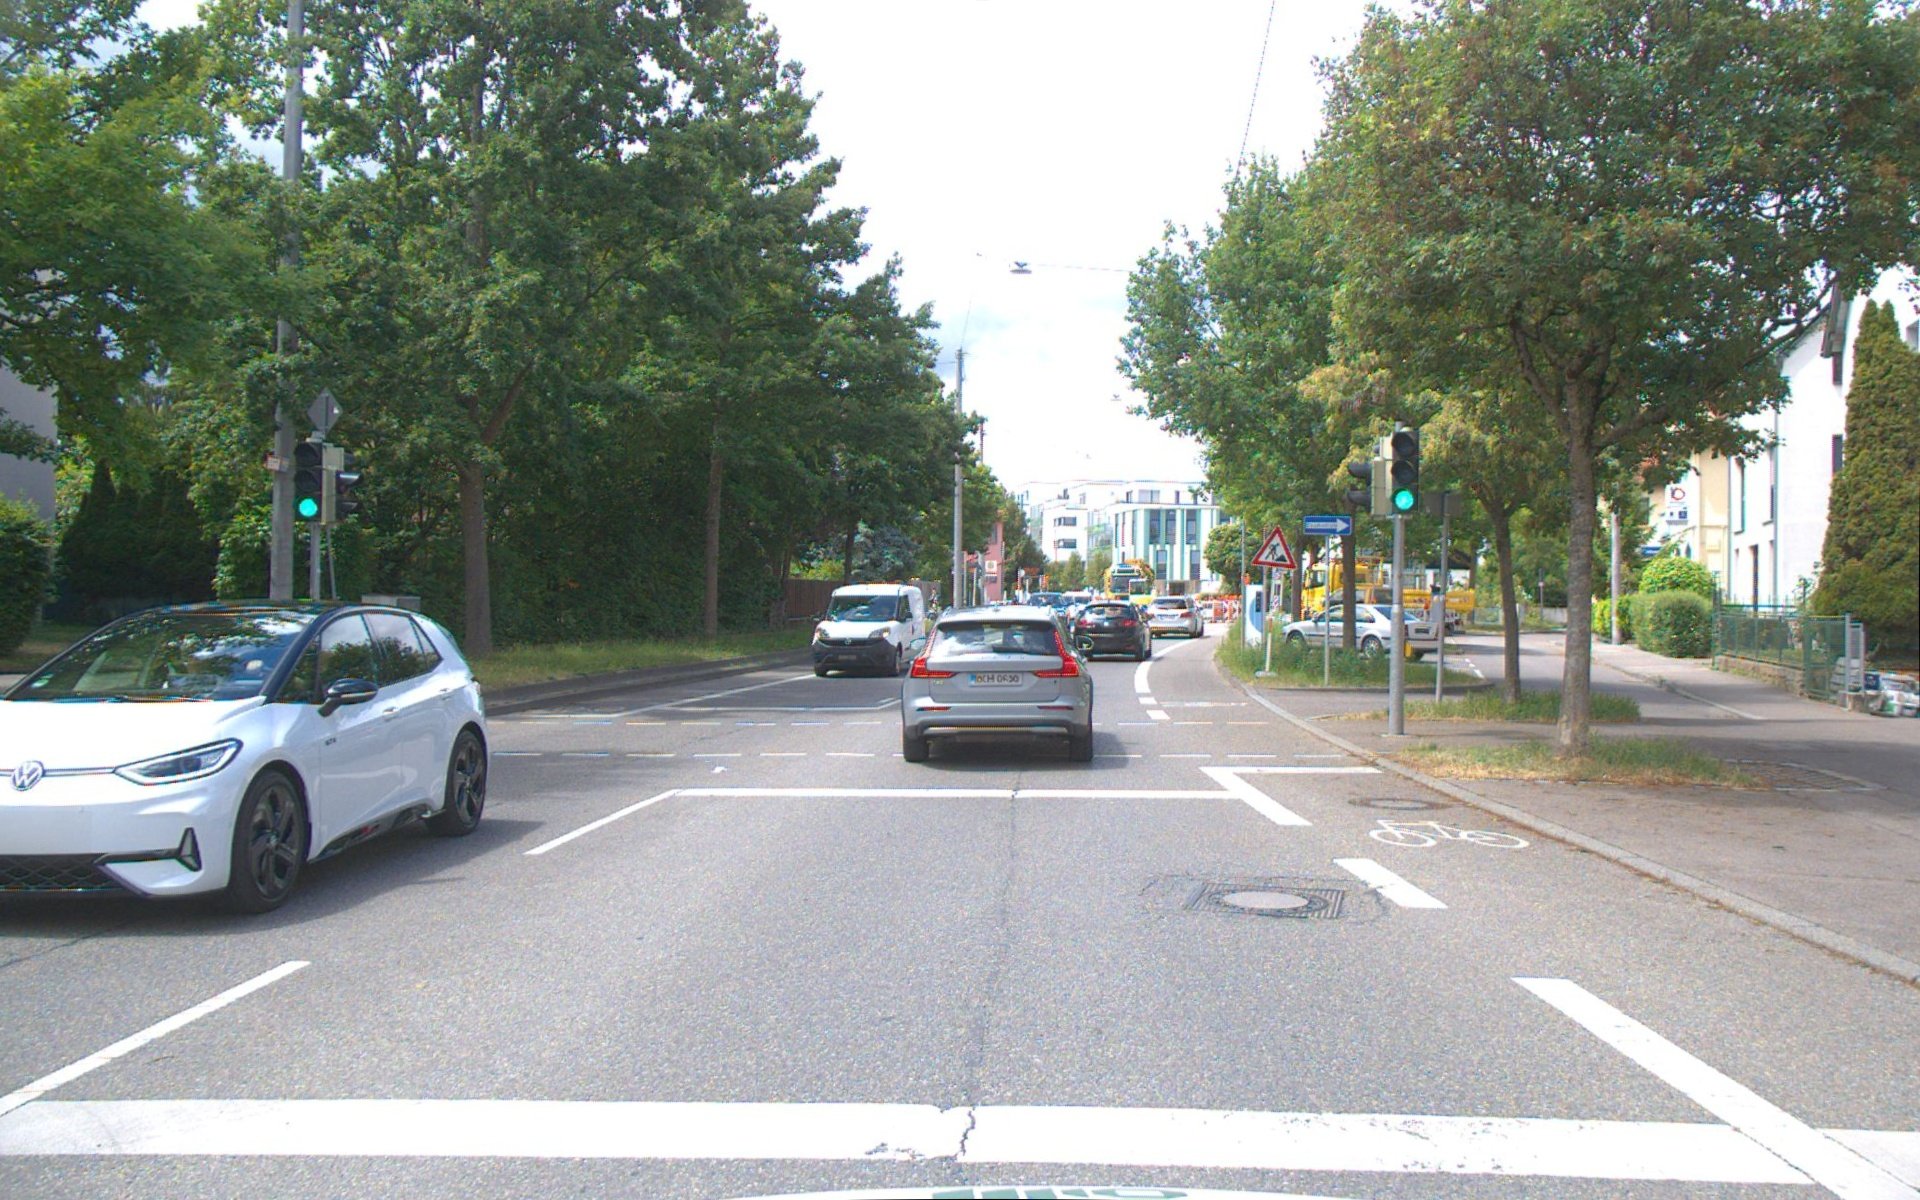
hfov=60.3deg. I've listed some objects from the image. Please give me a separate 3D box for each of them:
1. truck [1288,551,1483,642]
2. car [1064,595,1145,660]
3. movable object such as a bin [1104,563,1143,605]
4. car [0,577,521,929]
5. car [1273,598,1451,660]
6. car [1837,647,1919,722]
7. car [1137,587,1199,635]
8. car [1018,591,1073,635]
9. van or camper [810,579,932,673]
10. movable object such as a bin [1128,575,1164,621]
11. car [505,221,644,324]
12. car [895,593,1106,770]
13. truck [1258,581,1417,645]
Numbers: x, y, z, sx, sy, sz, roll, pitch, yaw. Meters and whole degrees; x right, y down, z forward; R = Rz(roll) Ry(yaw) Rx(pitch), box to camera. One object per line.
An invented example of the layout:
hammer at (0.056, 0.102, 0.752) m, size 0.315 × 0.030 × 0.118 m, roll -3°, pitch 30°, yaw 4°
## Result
truck at (15.616, -0.173, 61.101) m, size 2.741 × 3.060 × 6.618 m, roll 4°, pitch -1°, yaw -37°
car at (3.546, 0.678, 41.007) m, size 1.627 × 1.534 × 3.701 m, roll 0°, pitch -1°, yaw -1°
movable object such as a bin at (12.098, -1.171, 122.788) m, size 2.263 × 3.042 × 6.426 m, roll 0°, pitch 0°, yaw 0°
car at (-4.124, 0.736, 9.624) m, size 1.859 × 1.607 × 4.001 m, roll 0°, pitch -1°, yaw 4°
car at (10.689, 0.741, 44.294) m, size 1.748 × 1.477 × 4.632 m, roll 1°, pitch 0°, yaw -35°
car at (15.963, 1.409, 27.760) m, size 1.431 × 1.144 × 3.873 m, roll 3°, pitch -1°, yaw 17°
car at (7.439, 0.418, 59.166) m, size 2.058 × 1.536 × 4.003 m, roll 3°, pitch -1°, yaw 7°
car at (3.557, 0.522, 68.262) m, size 1.840 × 1.717 × 4.250 m, roll -1°, pitch 0°, yaw 8°
van or camper at (-1.779, 0.503, 34.521) m, size 1.821 × 1.807 × 4.383 m, roll 1°, pitch 0°, yaw 6°
movable object such as a bin at (11.189, -0.149, 99.200) m, size 1.991 × 2.689 × 5.944 m, roll 0°, pitch 0°, yaw 8°
car at (-8.673, -7.386, 37.576) m, size 1.790 × 1.353 × 4.002 m, roll 3°, pitch -2°, yaw 6°
car at (0.456, 0.751, 16.928) m, size 1.888 × 1.567 × 4.001 m, roll -1°, pitch -1°, yaw 3°
truck at (13.459, 0.420, 59.280) m, size 1.978 × 2.049 × 5.606 m, roll 4°, pitch -1°, yaw -36°
